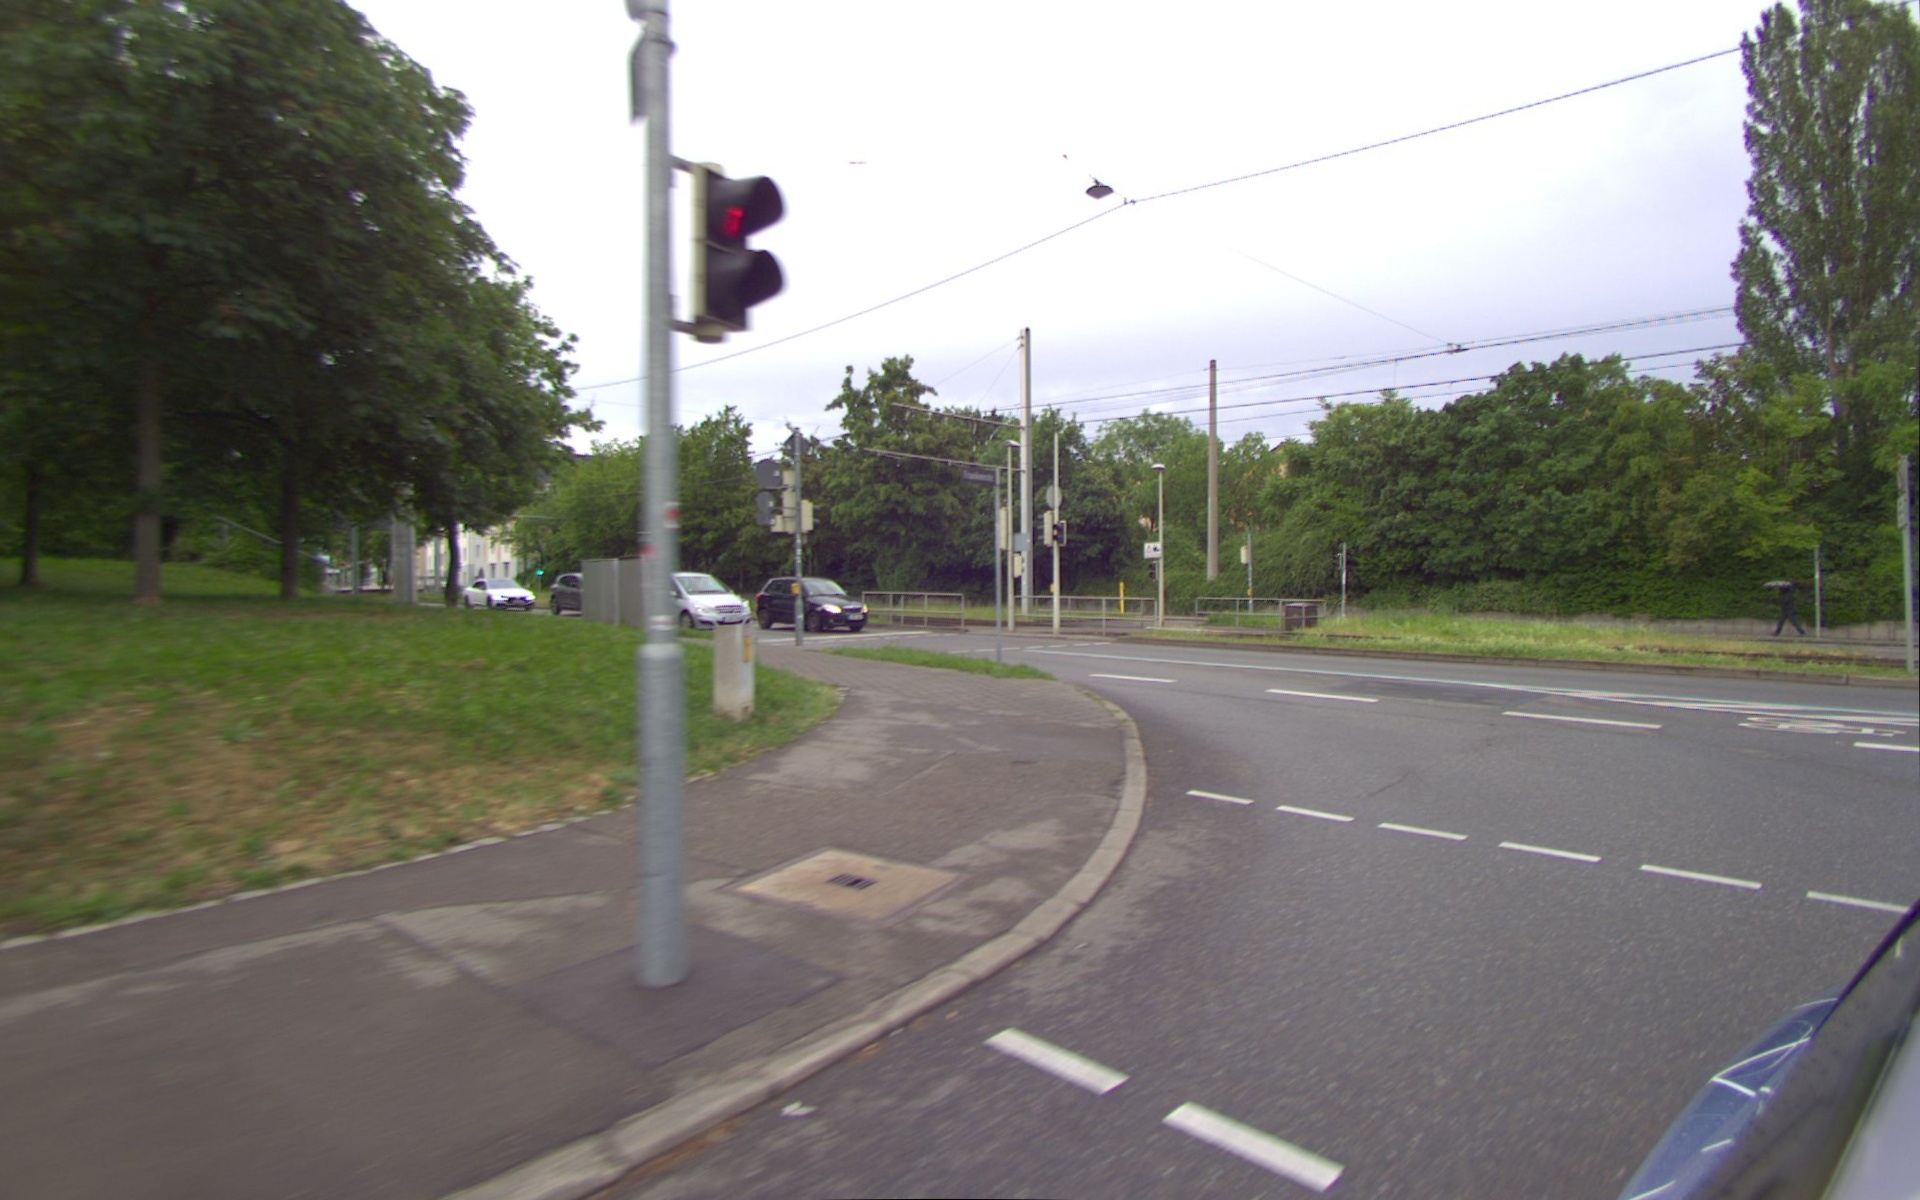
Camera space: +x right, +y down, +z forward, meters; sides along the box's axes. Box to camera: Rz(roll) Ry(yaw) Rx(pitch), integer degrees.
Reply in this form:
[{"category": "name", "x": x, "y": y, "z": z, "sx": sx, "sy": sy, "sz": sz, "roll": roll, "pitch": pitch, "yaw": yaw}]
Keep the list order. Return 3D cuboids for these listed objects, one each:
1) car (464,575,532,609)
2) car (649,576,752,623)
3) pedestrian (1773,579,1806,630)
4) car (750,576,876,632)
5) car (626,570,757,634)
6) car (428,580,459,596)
[{"category": "car", "x": -20.456, "y": -0.377, "z": 44.783, "sx": 1.580, "sy": 1.419, "sz": 3.782, "roll": -1, "pitch": 2, "yaw": -44}, {"category": "car", "x": -8.524, "y": -0.070, "z": 33.073, "sx": 1.580, "sy": 1.419, "sz": 3.782, "roll": -1, "pitch": 2, "yaw": -44}, {"category": "pedestrian", "x": 26.962, "y": 0.148, "z": 32.903, "sx": 0.796, "sy": 1.628, "sz": 0.682, "roll": 3, "pitch": -4, "yaw": -42}, {"category": "car", "x": -4.165, "y": 0.060, "z": 28.401, "sx": 1.580, "sy": 1.419, "sz": 3.782, "roll": -2, "pitch": 3, "yaw": -44}, {"category": "car", "x": -7.302, "y": 0.001, "z": 27.339, "sx": 3.851, "sy": 1.573, "sz": 1.698, "roll": 2, "pitch": 3, "yaw": 45}, {"category": "car", "x": -51.571, "y": -1.195, "z": 101.055, "sx": 1.680, "sy": 1.541, "sz": 3.783, "roll": 3, "pitch": -1, "yaw": -43}]
